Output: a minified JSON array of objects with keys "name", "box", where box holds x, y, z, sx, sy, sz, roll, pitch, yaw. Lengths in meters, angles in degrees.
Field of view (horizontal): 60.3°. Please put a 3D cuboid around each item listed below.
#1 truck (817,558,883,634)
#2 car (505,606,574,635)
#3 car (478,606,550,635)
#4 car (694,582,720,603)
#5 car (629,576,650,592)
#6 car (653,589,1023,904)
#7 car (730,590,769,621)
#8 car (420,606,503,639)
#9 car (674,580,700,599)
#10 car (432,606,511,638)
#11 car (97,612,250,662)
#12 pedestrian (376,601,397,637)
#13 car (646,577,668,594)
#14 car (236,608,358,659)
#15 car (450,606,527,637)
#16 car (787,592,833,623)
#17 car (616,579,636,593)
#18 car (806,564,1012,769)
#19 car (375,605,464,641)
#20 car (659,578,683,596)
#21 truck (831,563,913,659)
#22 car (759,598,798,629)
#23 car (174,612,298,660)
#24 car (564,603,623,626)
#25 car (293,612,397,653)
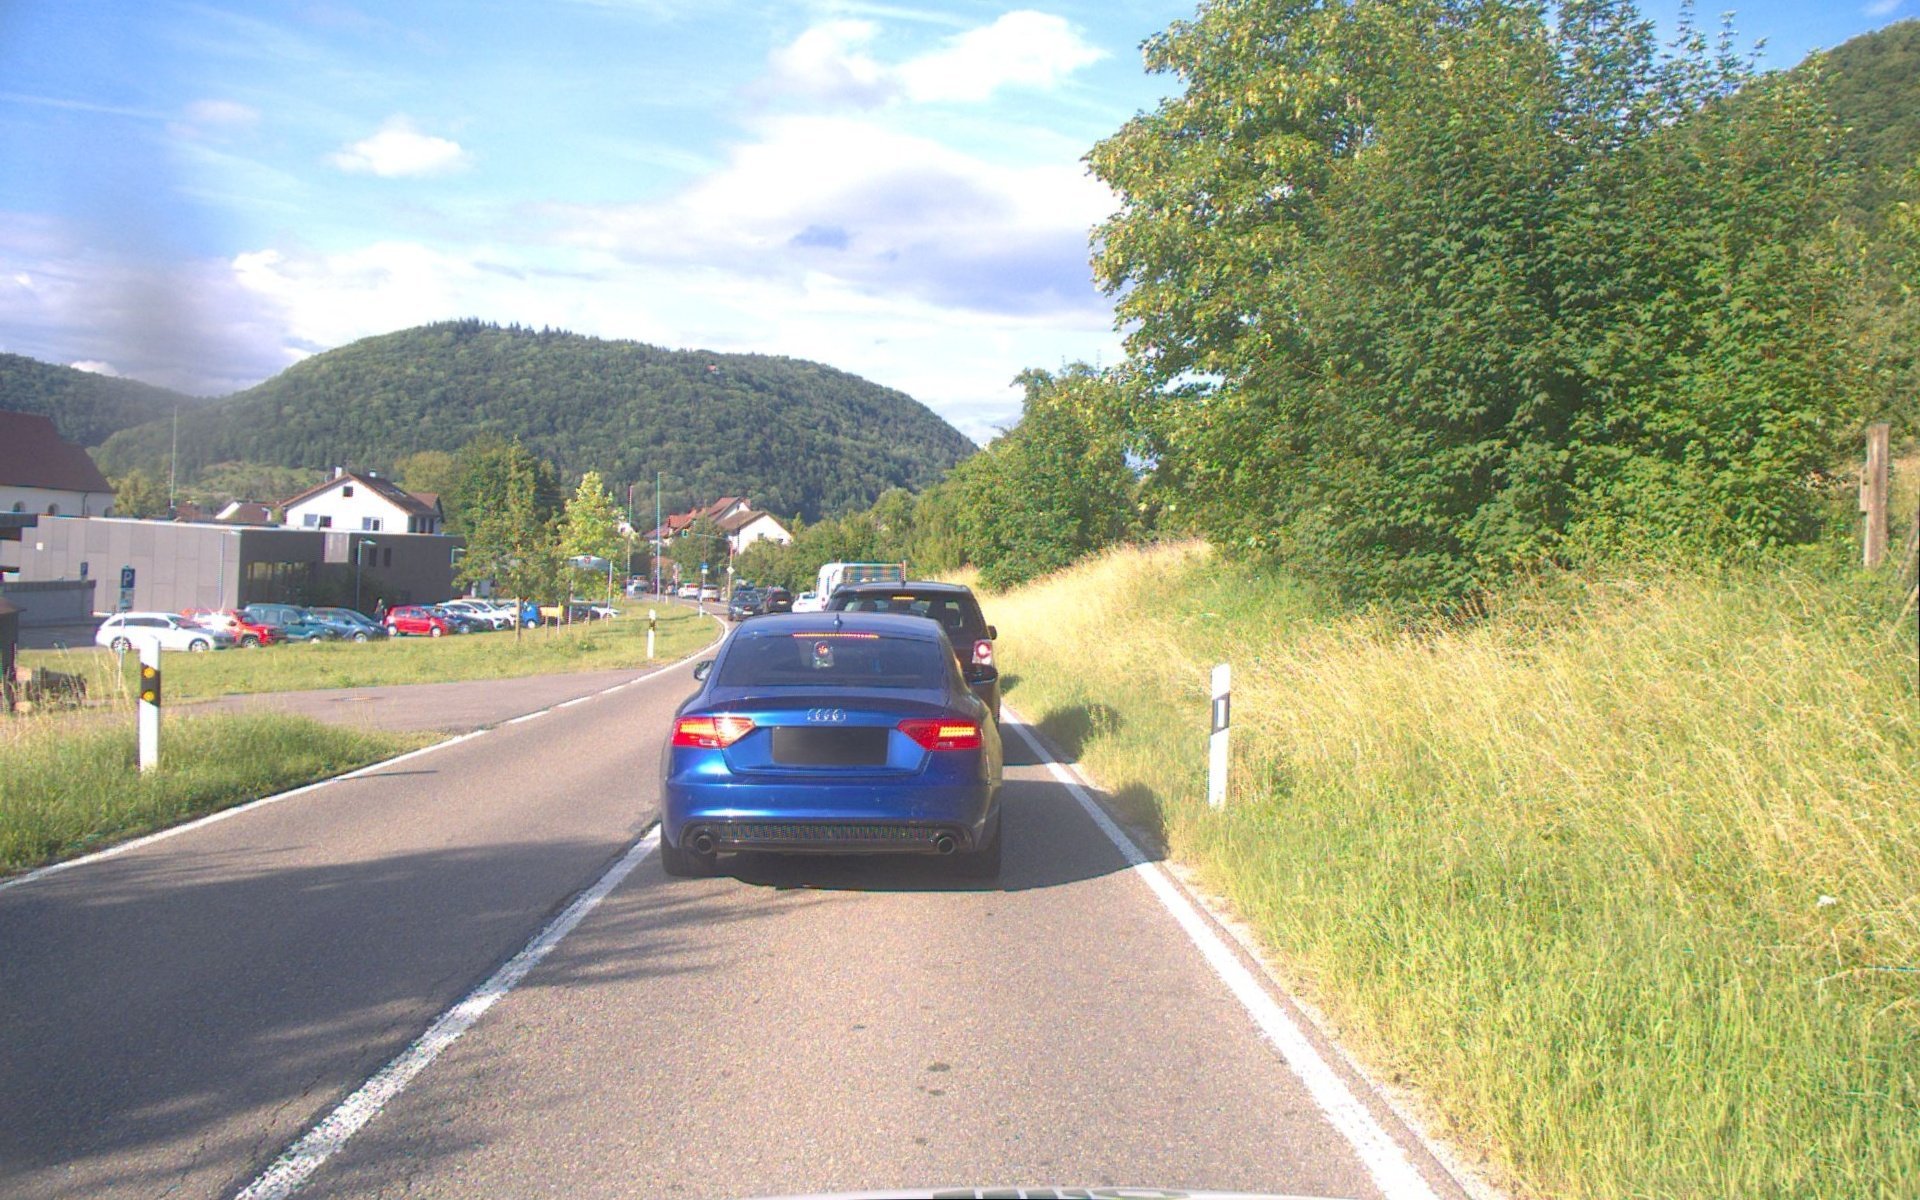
[{"name":"truck","box":[-4.088,-0.127,60.548,2.186,2.615,6.700,1,0,-5]},{"name":"car","box":[-26.615,1.283,104.709,3.908,1.741,1.999,1,0,-4]},{"name":"car","box":[-27.502,1.256,102.145,3.908,1.741,1.999,1,0,-4]},{"name":"car","box":[-22.182,-0.636,145.045,1.815,1.742,3.984,1,0,-15]},{"name":"car","box":[-36.973,-1.856,190.549,1.818,1.742,3.978,1,0,-19]},{"name":"car","box":[-0.582,0.698,9.702,1.718,1.455,3.846,1,0,0]},{"name":"car","box":[-10.383,0.284,81.419,1.673,1.455,4.040,1,0,-11]},{"name":"car","box":[-26.912,1.206,89.430,3.908,1.741,1.999,1,0,-4]},{"name":"car","box":[-25.872,-0.999,156.653,1.818,1.742,3.978,1,0,-19]},{"name":"car","box":[-27.460,1.214,93.074,3.908,1.741,1.999,1,0,-4]},{"name":"car","box":[-29.107,1.351,61.321,4.637,1.741,1.999,1,0,-4]},{"name":"pedestrian","box":[-33.091,1.078,95.422,0.808,2.049,0.973,1,-1,-1]},{"name":"car","box":[-32.773,-1.539,178.860,1.818,1.742,3.978,1,0,-19]},{"name":"car","box":[-28.049,1.409,70.049,4.319,2.043,1.999,1,0,-4]},{"name":"car","box":[-27.433,1.230,96.359,3.908,1.741,1.999,1,0,-4]},{"name":"car","box":[-7.509,0.359,82.642,1.813,1.508,3.987,1,0,-12]},{"name":"car","box":[-40.427,-1.681,200.083,1.818,1.742,3.978,1,0,-19]},{"name":"car","box":[-0.437,0.572,15.921,1.718,1.710,3.846,1,0,0]},{"name":"car","box":[-27.696,1.172,84.837,3.908,1.741,1.999,1,0,-4]},{"name":"car","box":[-29.561,-1.290,169.311,1.818,1.742,3.978,1,0,-19]},{"name":"truck","box":[-2.663,0.315,48.503,2.186,2.615,6.097,1,0,-5]},{"name":"car","box":[-10.543,0.747,95.986,1.813,1.742,3.987,1,0,-12]},{"name":"car","box":[-28.085,1.381,64.244,3.908,1.741,1.999,1,0,-4]},{"name":"car","box":[-26.452,1.047,119.462,3.908,1.606,1.751,1,0,-4]},{"name":"car","box":[-27.516,1.437,74.105,3.908,1.741,1.999,1,0,-4]}]
